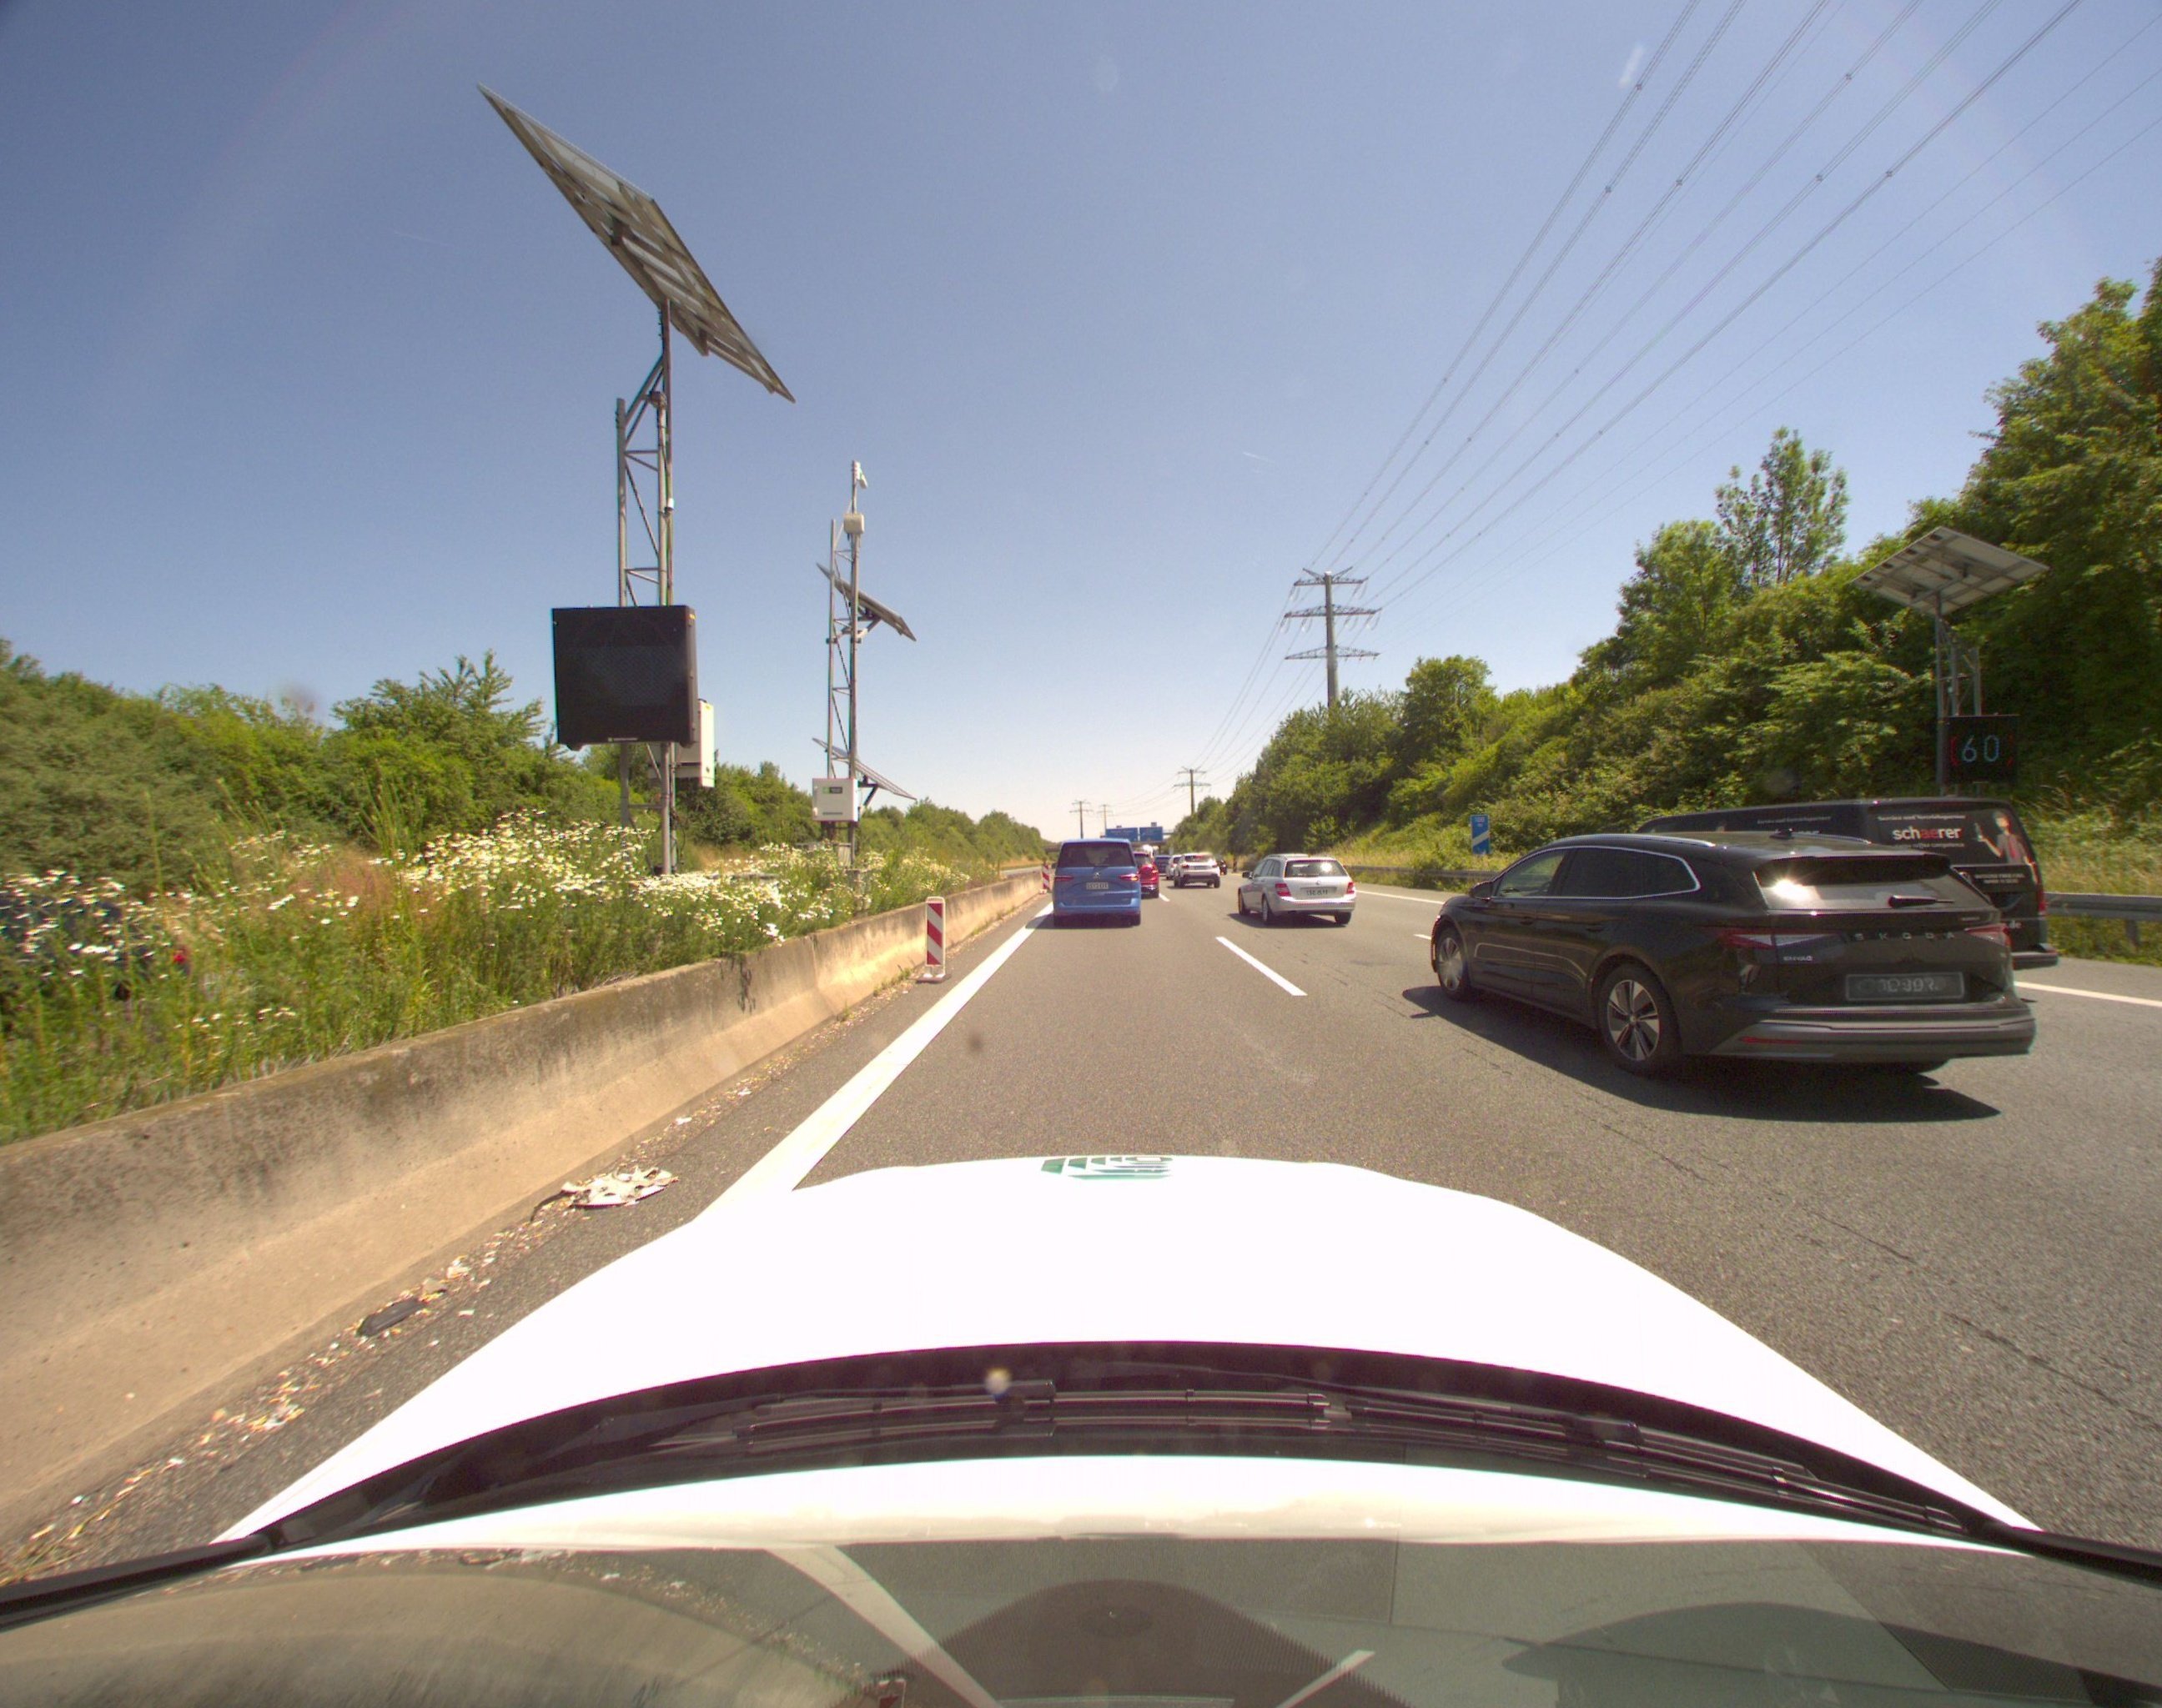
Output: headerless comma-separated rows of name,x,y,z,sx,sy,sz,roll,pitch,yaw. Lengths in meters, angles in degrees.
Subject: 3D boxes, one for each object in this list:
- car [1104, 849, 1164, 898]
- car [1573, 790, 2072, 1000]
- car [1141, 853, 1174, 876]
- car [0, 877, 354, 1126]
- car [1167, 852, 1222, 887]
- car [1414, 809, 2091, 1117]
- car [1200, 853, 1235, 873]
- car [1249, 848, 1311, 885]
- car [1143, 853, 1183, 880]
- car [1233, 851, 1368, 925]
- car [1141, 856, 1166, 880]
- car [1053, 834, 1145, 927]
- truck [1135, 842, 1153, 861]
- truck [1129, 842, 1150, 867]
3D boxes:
car,1.856,0.663,29.644,1.902,1.631,4.383,-1,0,0
car,8.173,0.373,9.772,1.778,1.904,4.699,0,0,1
car,5.377,0.710,57.773,1.903,1.516,4.382,0,0,-1
car,-8.024,1.030,5.319,1.986,1.546,4.914,-2,0,2
car,5.061,0.665,36.667,1.903,1.508,3.920,0,0,-1
car,4.499,0.599,6.573,1.822,1.614,4.430,-1,-1,0
car,9.772,0.600,58.643,1.729,1.378,4.301,0,0,-1
car,8.377,0.507,34.578,1.734,1.470,4.015,-1,0,1
car,4.806,0.715,48.460,1.903,1.516,4.382,0,0,-1
car,4.712,0.676,18.172,1.815,1.437,4.382,0,0,-1
car,6.484,1.215,73.013,1.986,2.013,4.001,0,0,1
car,0.303,0.546,18.899,1.866,1.879,4.380,0,0,-2
truck,13.785,-0.560,178.962,2.636,4.072,16.440,0,0,0
truck,6.594,0.090,92.492,1.987,2.723,5.680,0,0,0
